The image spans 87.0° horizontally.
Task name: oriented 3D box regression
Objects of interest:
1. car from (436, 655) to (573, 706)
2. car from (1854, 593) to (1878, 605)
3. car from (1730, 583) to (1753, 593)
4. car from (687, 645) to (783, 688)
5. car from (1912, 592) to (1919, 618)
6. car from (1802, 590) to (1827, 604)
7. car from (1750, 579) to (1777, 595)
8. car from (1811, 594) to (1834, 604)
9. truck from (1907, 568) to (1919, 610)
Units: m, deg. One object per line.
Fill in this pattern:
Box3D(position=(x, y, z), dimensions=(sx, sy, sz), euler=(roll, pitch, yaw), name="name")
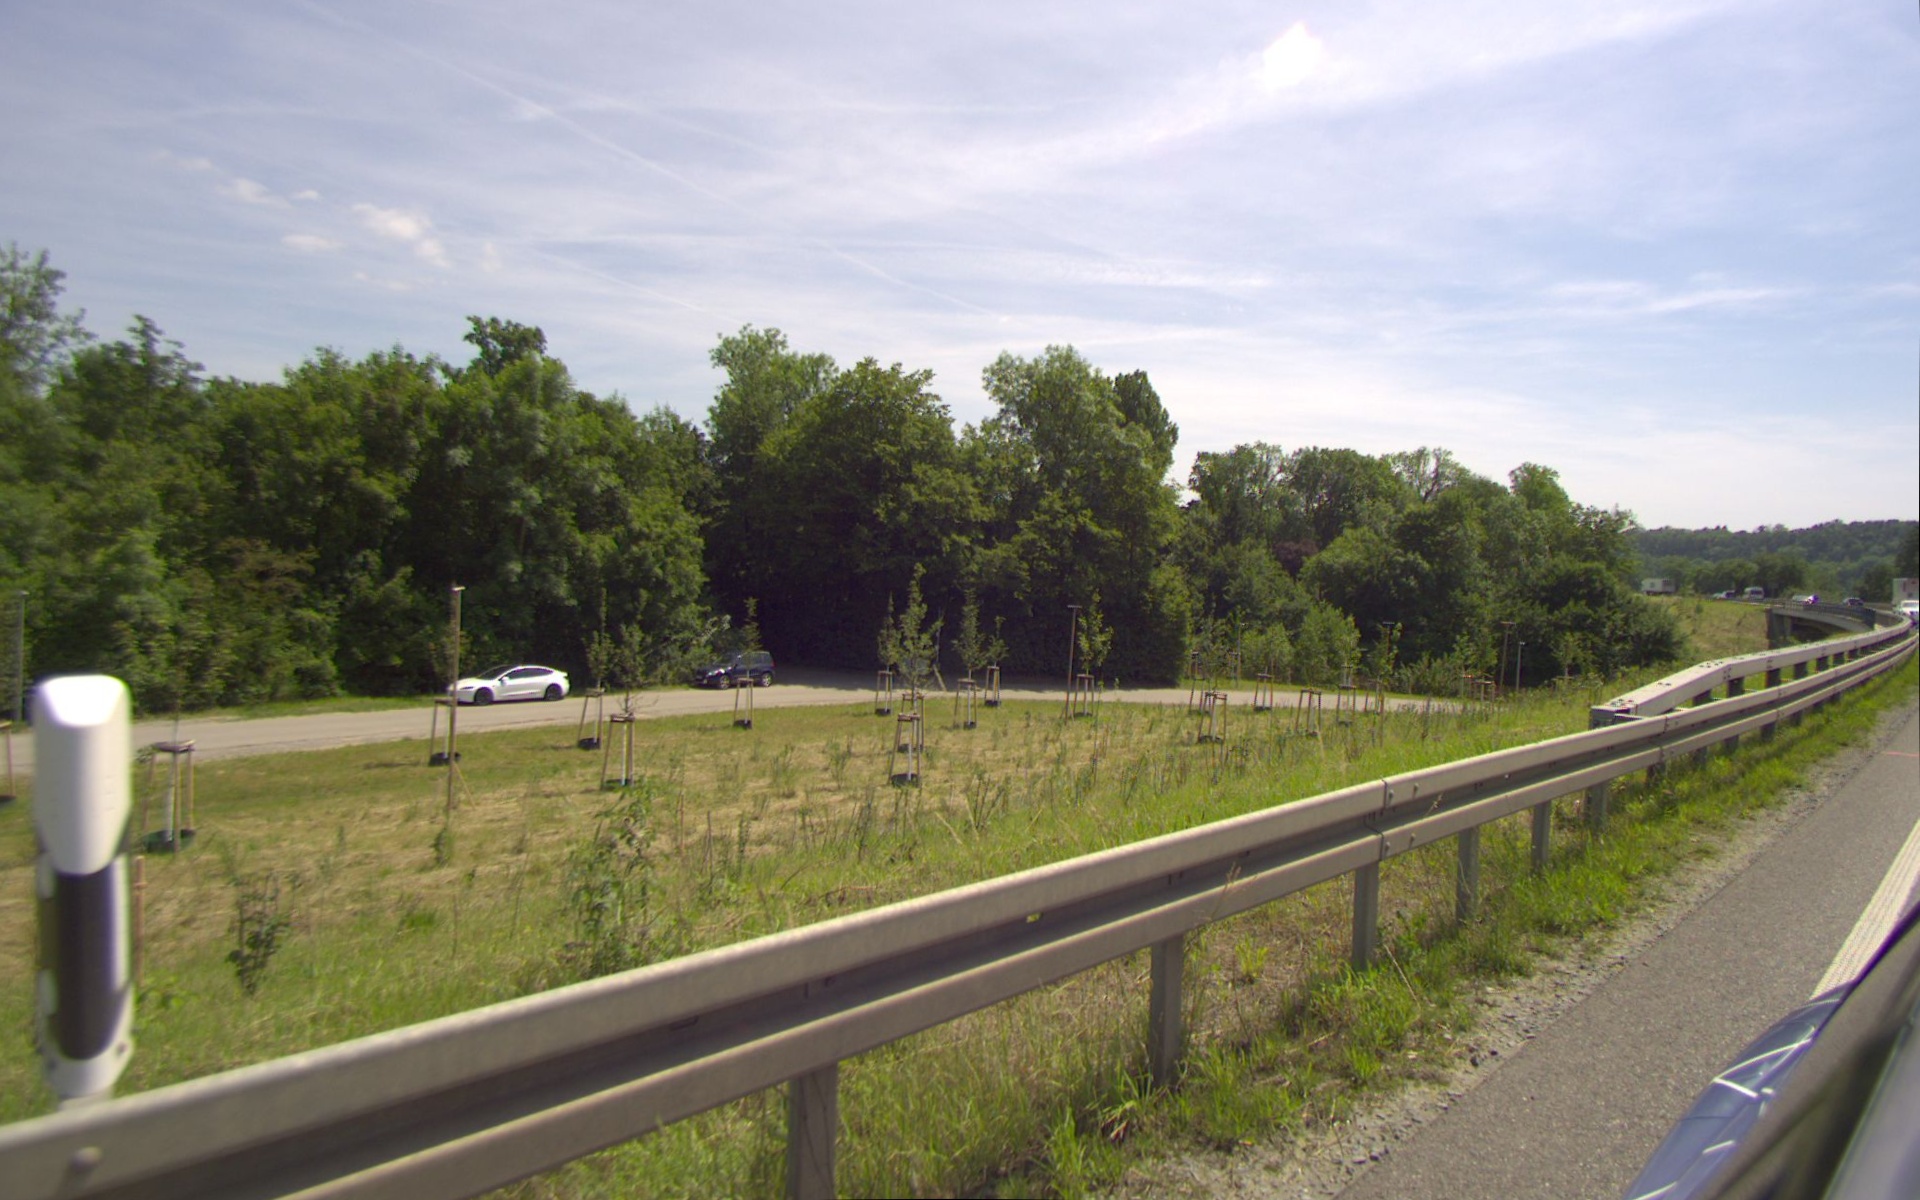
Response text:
Box3D(position=(-17.926, 3.136, 40.014), dimensions=(1.856, 1.500, 4.541), euler=(6, 4, 40), name="car")
Box3D(position=(113.857, -0.136, 127.201), dimensions=(1.715, 1.501, 4.512), euler=(1, 1, 35), name="car")
Box3D(position=(146.220, -2.187, 189.331), dimensions=(1.834, 1.821, 4.950), euler=(0, 2, 18), name="car")
Box3D(position=(-10.742, 3.138, 48.516), dimensions=(1.858, 1.702, 4.134), euler=(6, 3, 42), name="car")
Box3D(position=(72.178, 0.367, 75.229), dimensions=(1.975, 1.811, 3.939), euler=(1, 2, 42), name="car")
Box3D(position=(110.437, -0.363, 130.809), dimensions=(1.968, 1.754, 3.951), euler=(1, 1, 34), name="car")
Box3D(position=(140.912, -2.304, 177.531), dimensions=(2.161, 2.591, 5.754), euler=(0, 2, 23), name="car")
Box3D(position=(126.047, -0.133, 147.920), dimensions=(1.712, 1.453, 4.566), euler=(1, 1, 31), name="car")
Box3D(position=(93.353, -0.976, 97.011), dimensions=(2.909, 3.851, 9.573), euler=(1, 1, 38), name="truck")
